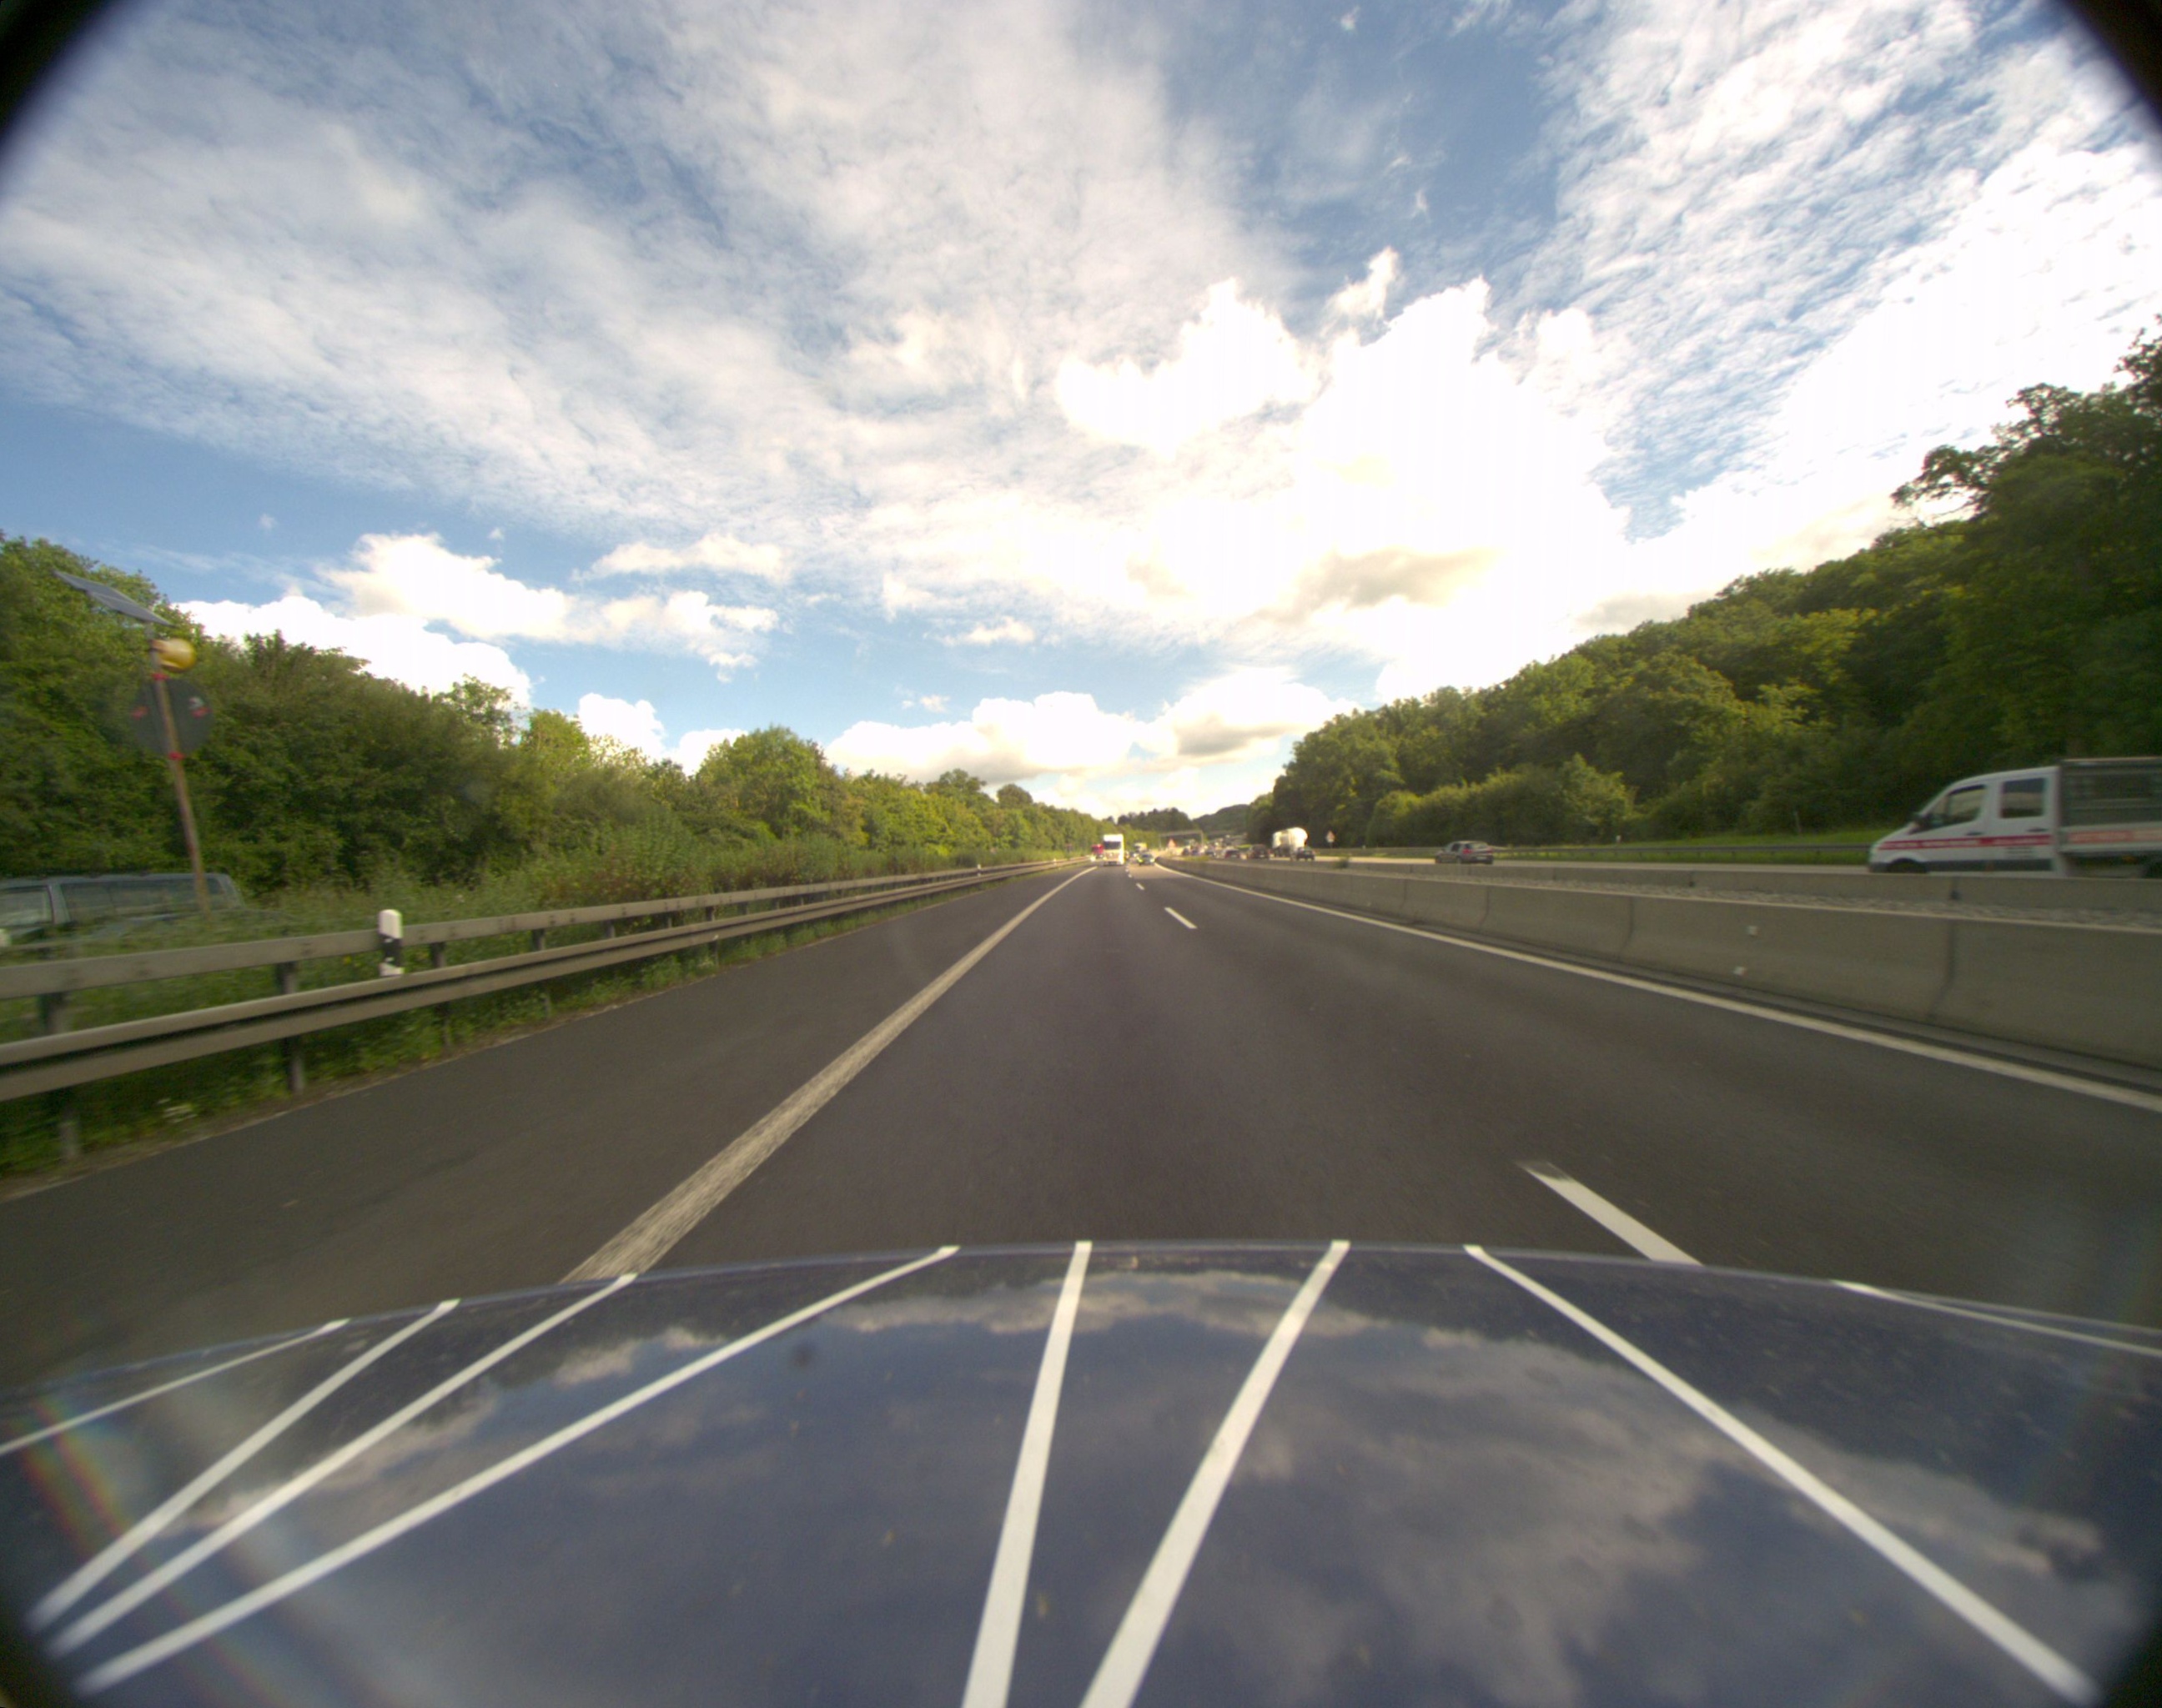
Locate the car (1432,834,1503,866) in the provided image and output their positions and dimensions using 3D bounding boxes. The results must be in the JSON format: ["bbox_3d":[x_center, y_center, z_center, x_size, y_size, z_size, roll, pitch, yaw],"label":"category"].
[{"bbox_3d":[21.471,-0.218,42.381,1.730,1.629,4.191,-3,0,-1],"label":"car"}]

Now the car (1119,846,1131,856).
[{"bbox_3d":[8.073,-0.511,139.215,1.998,1.798,3.809,-2,0,3],"label":"car"}]

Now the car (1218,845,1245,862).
[{"bbox_3d":[14.656,-0.052,74.326,1.805,1.597,4.483,-3,0,2],"label":"car"}]

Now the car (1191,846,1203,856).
[{"bbox_3d":[19.078,-0.553,124.910,1.601,1.521,3.843,-3,0,3],"label":"car"}]

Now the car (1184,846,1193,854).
[{"bbox_3d":[21.615,-0.747,152.937,1.601,1.489,4.065,-3,0,4],"label":"car"}]

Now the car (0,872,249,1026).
[{"bbox_3d":[-15.564,1.361,10.740,1.998,2.002,4.910,-3,0,2],"label":"car"}]

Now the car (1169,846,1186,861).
[{"bbox_3d":[13.662,-0.026,107.975,1.998,2.022,4.001,-2,0,3],"label":"car"}]

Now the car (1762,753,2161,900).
[{"bbox_3d":[16.627,-0.452,13.225,2.206,2.117,8.075,-3,0,-1],"label":"car"}]

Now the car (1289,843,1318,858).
[{"bbox_3d":[23.339,-0.415,79.909,1.905,1.456,4.343,-3,0,3],"label":"car"}]

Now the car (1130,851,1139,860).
[{"bbox_3d":[12.203,0.295,172.762,1.998,2.002,4.000,-2,1,3],"label":"car"}]

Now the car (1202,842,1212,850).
[{"bbox_3d":[31.229,-1.951,188.394,2.103,1.743,4.001,-2,0,5],"label":"car"}]

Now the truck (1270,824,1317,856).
[{"bbox_3d":[29.918,-1.961,107.569,3.458,4.103,13.680,-2,1,3],"label":"truck"}]

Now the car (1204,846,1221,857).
[{"bbox_3d":[18.760,-0.365,108.506,1.771,1.469,4.539,-3,0,3],"label":"car"}]

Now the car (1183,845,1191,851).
[{"bbox_3d":[32.620,-1.797,233.933,2.125,1.743,4.001,-2,0,5],"label":"car"}]

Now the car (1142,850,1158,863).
[{"bbox_3d":[8.258,0.310,91.325,1.662,1.464,4.000,-3,0,3],"label":"car"}]

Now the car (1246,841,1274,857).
[{"bbox_3d":[19.491,-0.518,82.891,2.041,1.605,5.040,-3,0,3],"label":"car"}]

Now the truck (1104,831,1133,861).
[{"bbox_3d":[5.035,-1.098,100.842,2.795,3.562,11.463,-2,1,7],"label":"truck"}]
